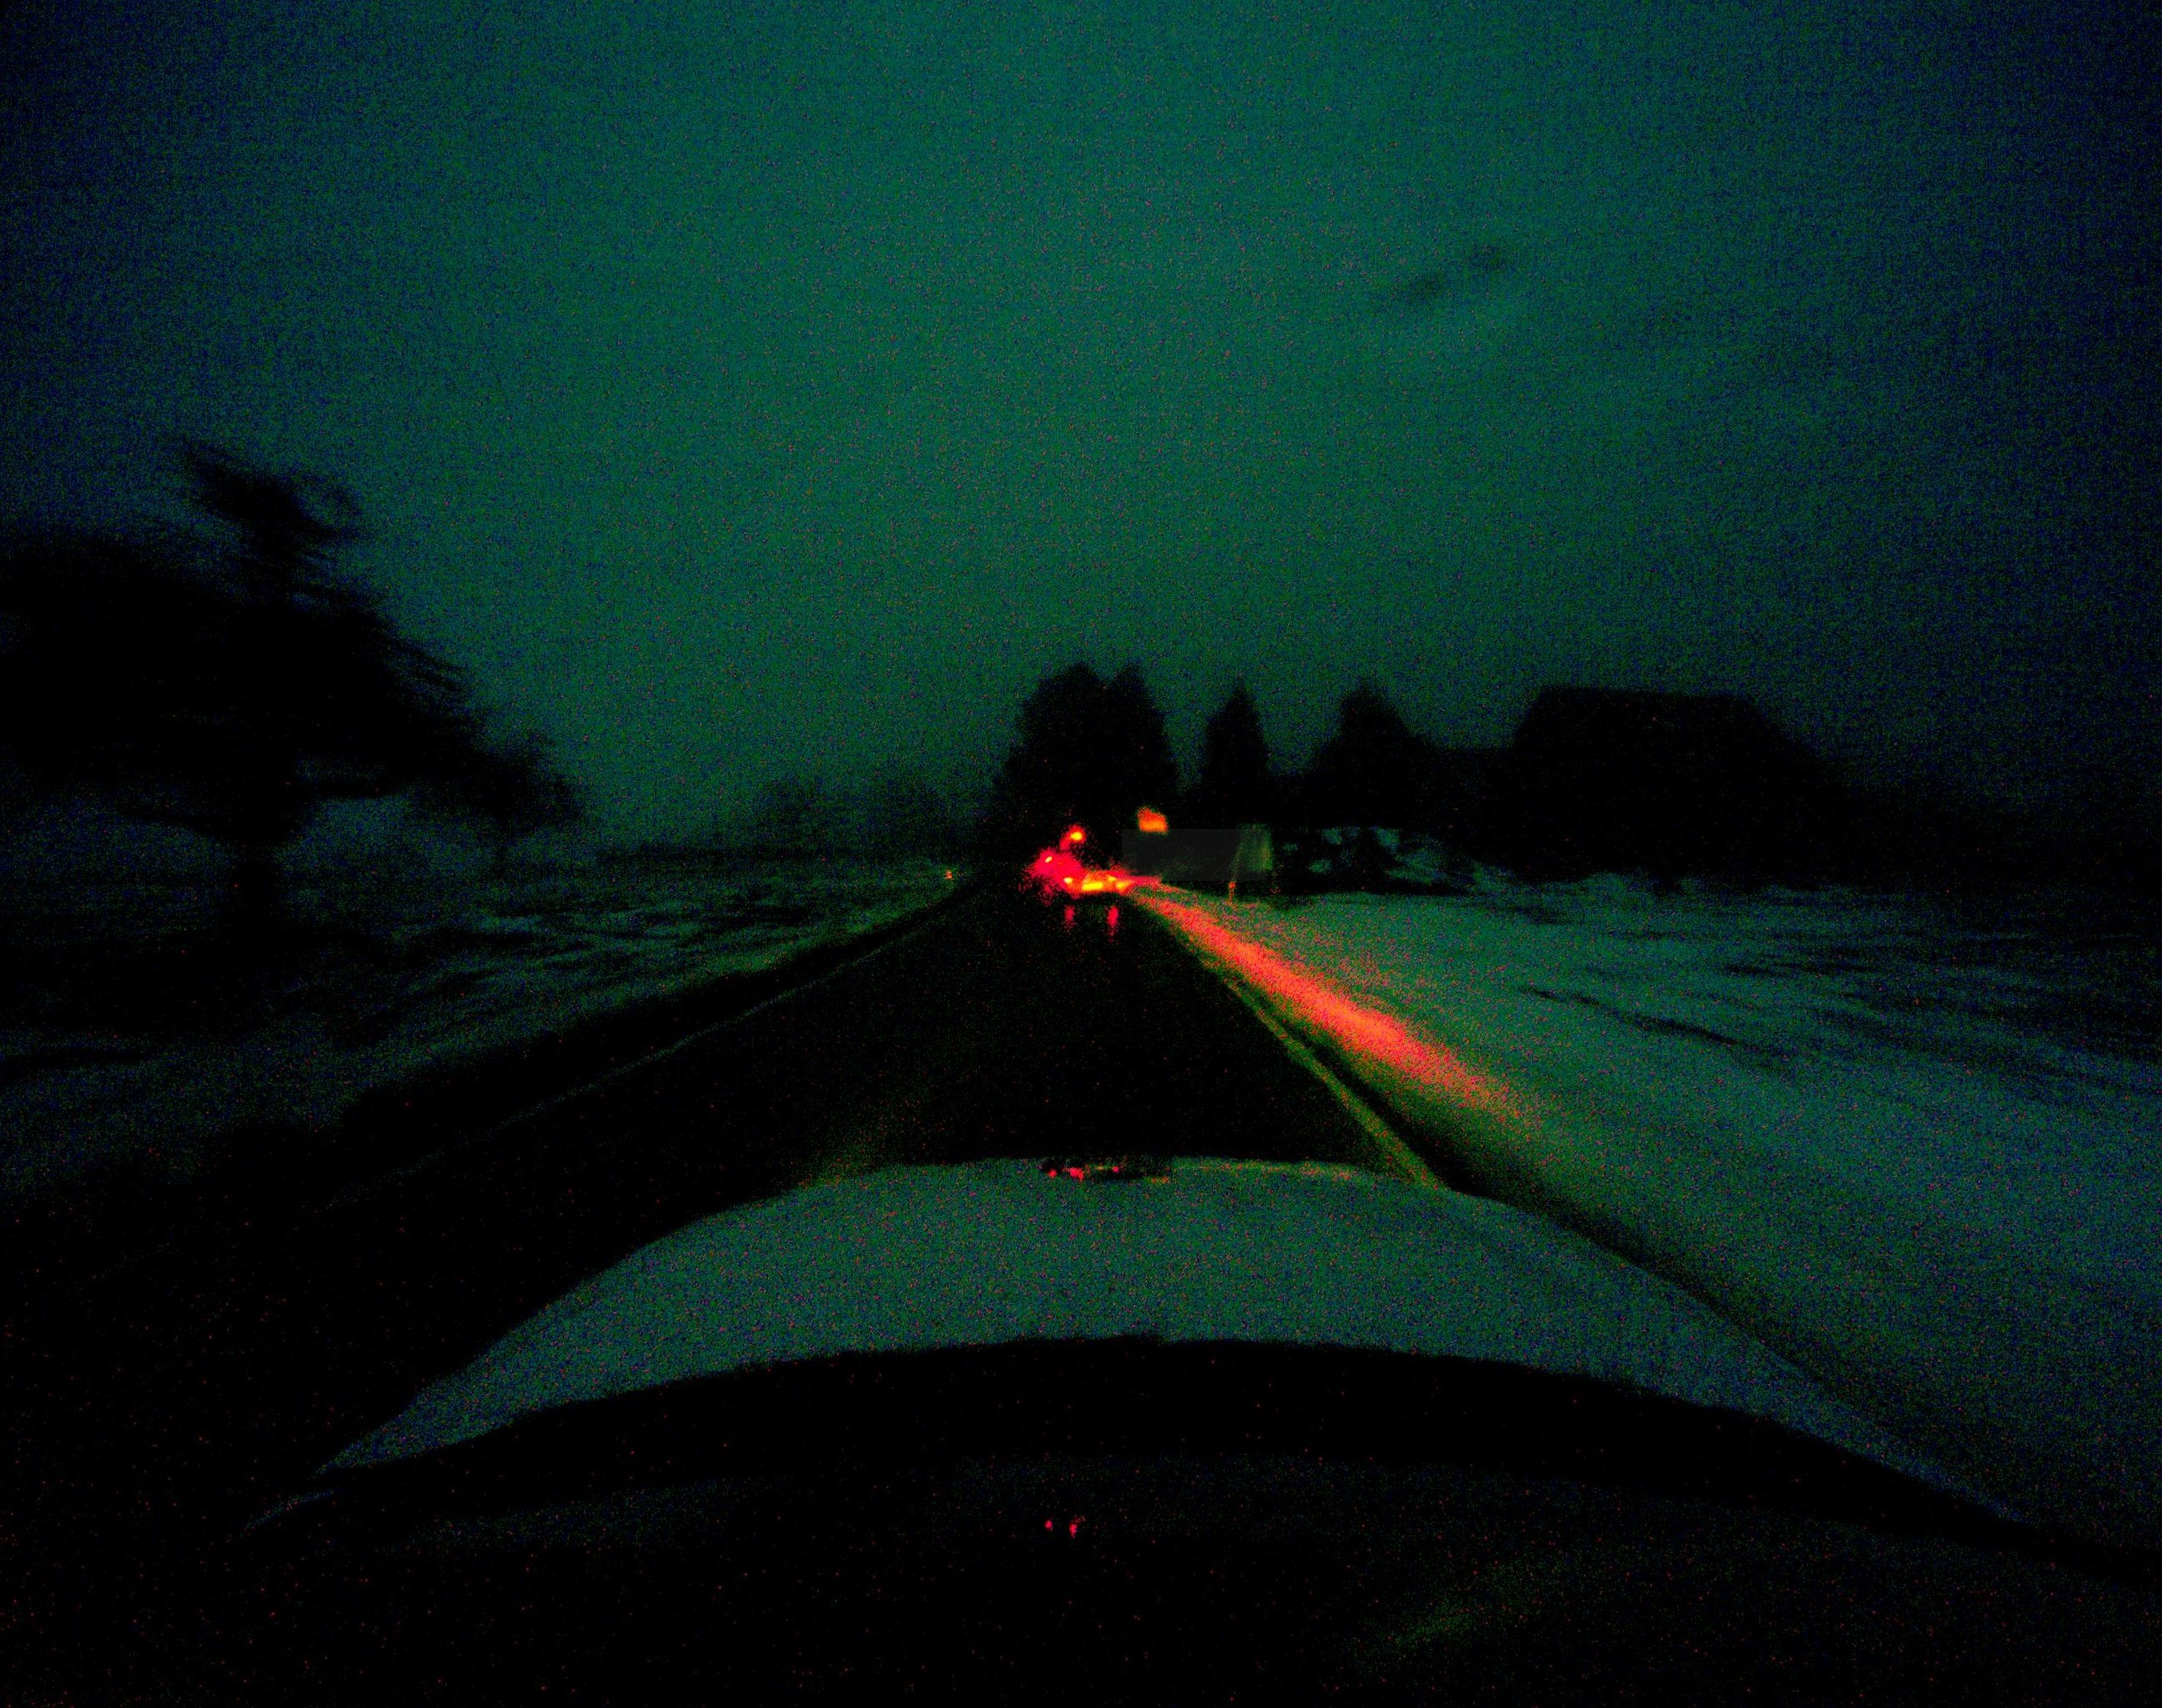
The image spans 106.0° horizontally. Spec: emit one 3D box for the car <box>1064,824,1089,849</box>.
[{"bbox_3d":[-0.278,-1.137,52.798,1.473,1.508,3.054,-1,-1,2],"label":"car"}]

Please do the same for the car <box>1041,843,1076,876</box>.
[{"bbox_3d":[-1.071,0.251,39.466,1.473,1.508,3.054,-1,0,2],"label":"car"}]

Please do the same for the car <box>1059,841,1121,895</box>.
[{"bbox_3d":[0.219,0.474,25.601,1.702,1.463,3.997,4,-2,-1],"label":"car"}]

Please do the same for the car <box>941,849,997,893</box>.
[{"bbox_3d":[-4.086,0.601,30.112,1.517,1.508,3.054,-1,-1,2],"label":"car"}]
